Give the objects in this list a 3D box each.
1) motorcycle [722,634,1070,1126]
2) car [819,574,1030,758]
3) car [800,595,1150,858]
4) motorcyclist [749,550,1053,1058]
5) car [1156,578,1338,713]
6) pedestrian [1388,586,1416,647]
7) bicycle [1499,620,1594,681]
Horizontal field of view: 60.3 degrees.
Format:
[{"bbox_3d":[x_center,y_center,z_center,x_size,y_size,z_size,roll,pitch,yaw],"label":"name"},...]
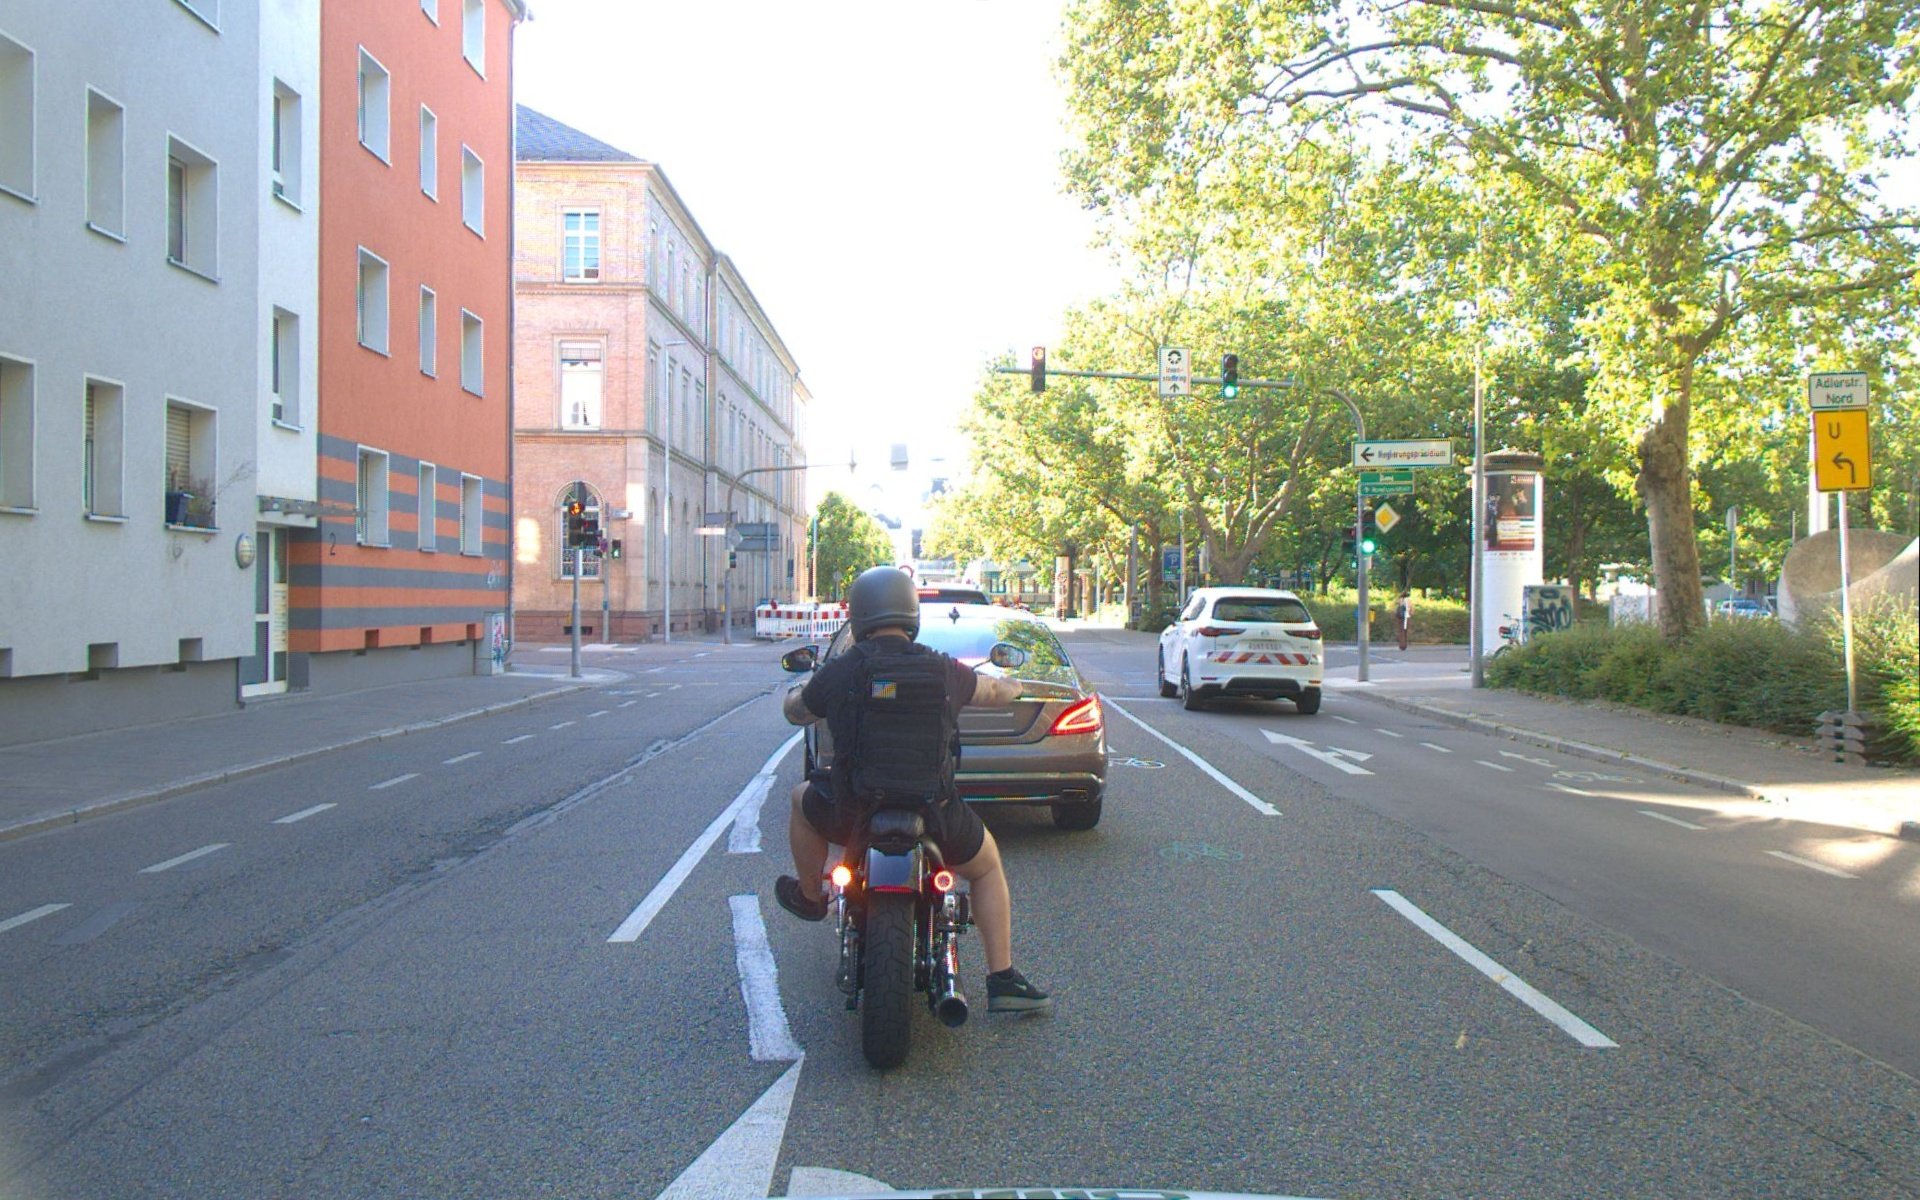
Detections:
[{"bbox_3d":[-0.193,0.800,5.786,0.961,1.297,2.407,0,0,-1],"label":"motorcycle"},{"bbox_3d":[-0.360,0.633,17.549,1.953,1.695,3.999,1,0,-1],"label":"car"},{"bbox_3d":[-0.111,0.709,11.629,1.834,1.469,4.422,0,0,-8],"label":"car"},{"bbox_3d":[-0.195,0.642,5.863,0.961,1.606,1.248,0,0,-1],"label":"motorcyclist"},{"bbox_3d":[4.068,0.590,24.163,1.903,1.738,4.484,2,0,1],"label":"car"},{"bbox_3d":[13.256,0.481,49.592,0.664,1.803,0.616,1,-1,29],"label":"pedestrian"},{"bbox_3d":[9.789,0.839,27.606,1.452,0.997,0.299,1,-1,5],"label":"bicycle"}]
